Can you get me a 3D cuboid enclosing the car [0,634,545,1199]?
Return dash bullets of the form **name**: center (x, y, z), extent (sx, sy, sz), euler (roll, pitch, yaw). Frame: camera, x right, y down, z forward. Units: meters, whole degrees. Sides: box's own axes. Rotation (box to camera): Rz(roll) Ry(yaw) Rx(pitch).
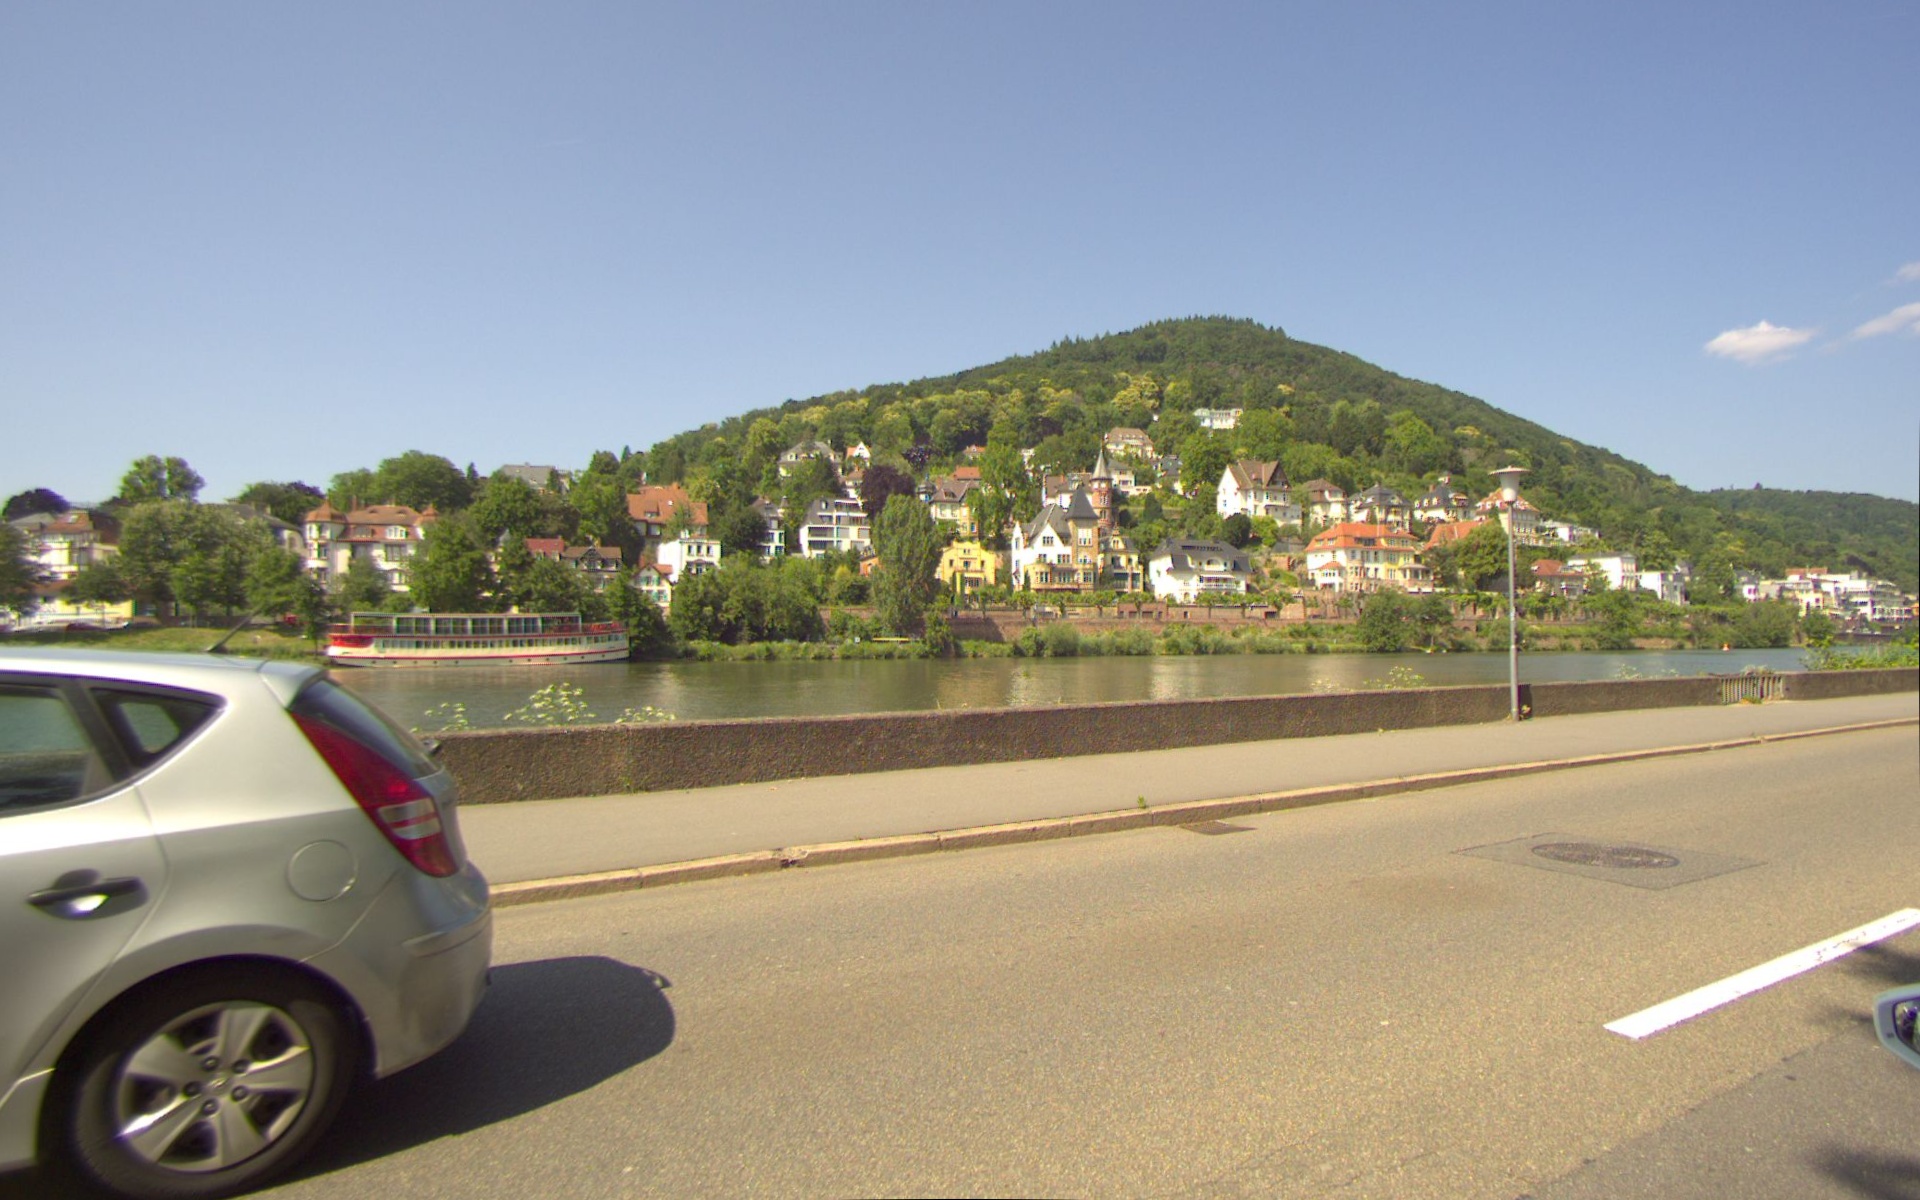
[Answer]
- **car**: center (-3.379, 0.848, 2.709), extent (3.998, 1.460, 1.724), euler (1, -3, -30)
